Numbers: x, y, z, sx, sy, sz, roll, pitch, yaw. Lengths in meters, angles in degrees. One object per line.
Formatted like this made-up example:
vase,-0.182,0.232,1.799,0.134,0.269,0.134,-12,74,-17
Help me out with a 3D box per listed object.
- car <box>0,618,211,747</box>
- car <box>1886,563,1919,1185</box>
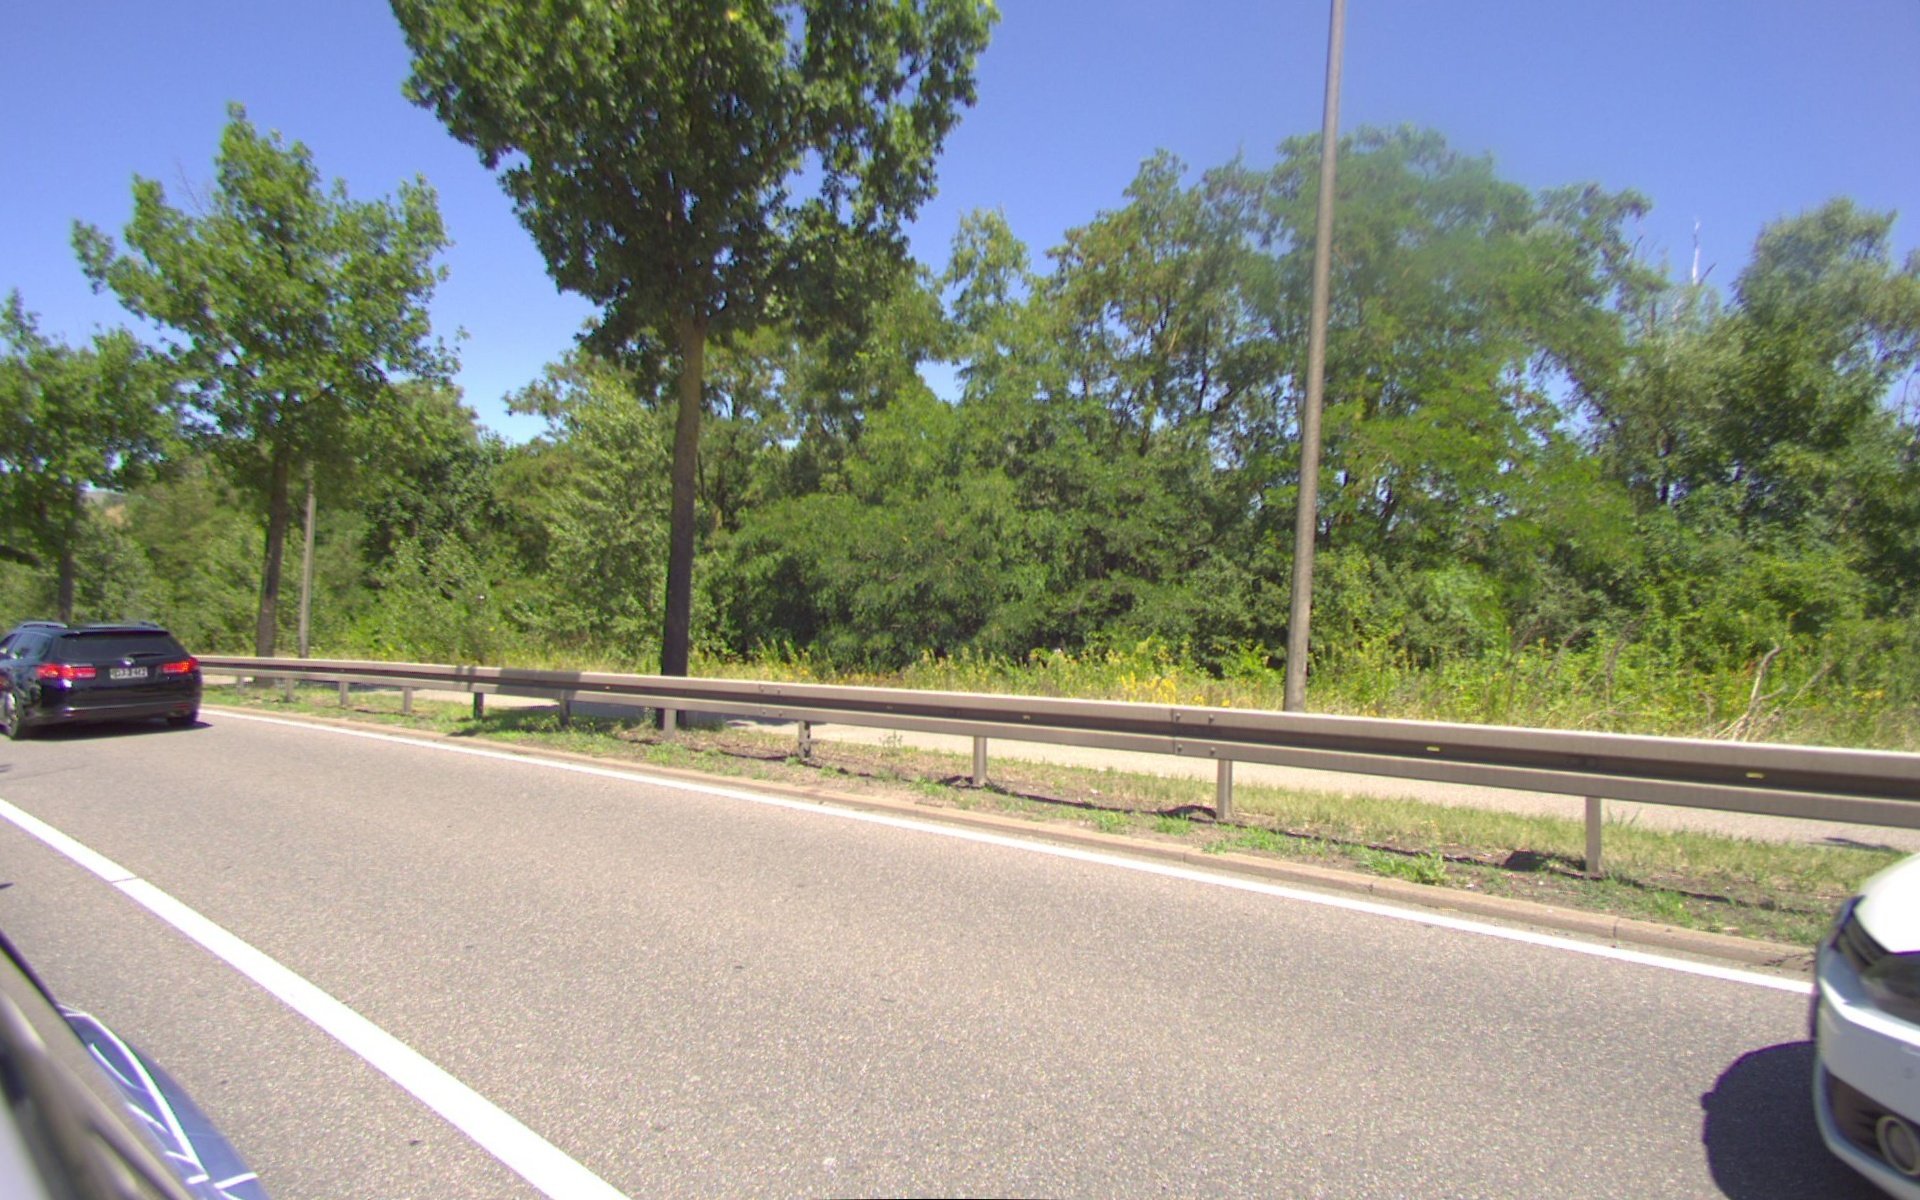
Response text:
car,-11.951,0.983,13.395,4.658,1.391,1.861,-1,0,34
car,3.774,0.609,1.083,4.022,1.449,1.707,-1,0,41
